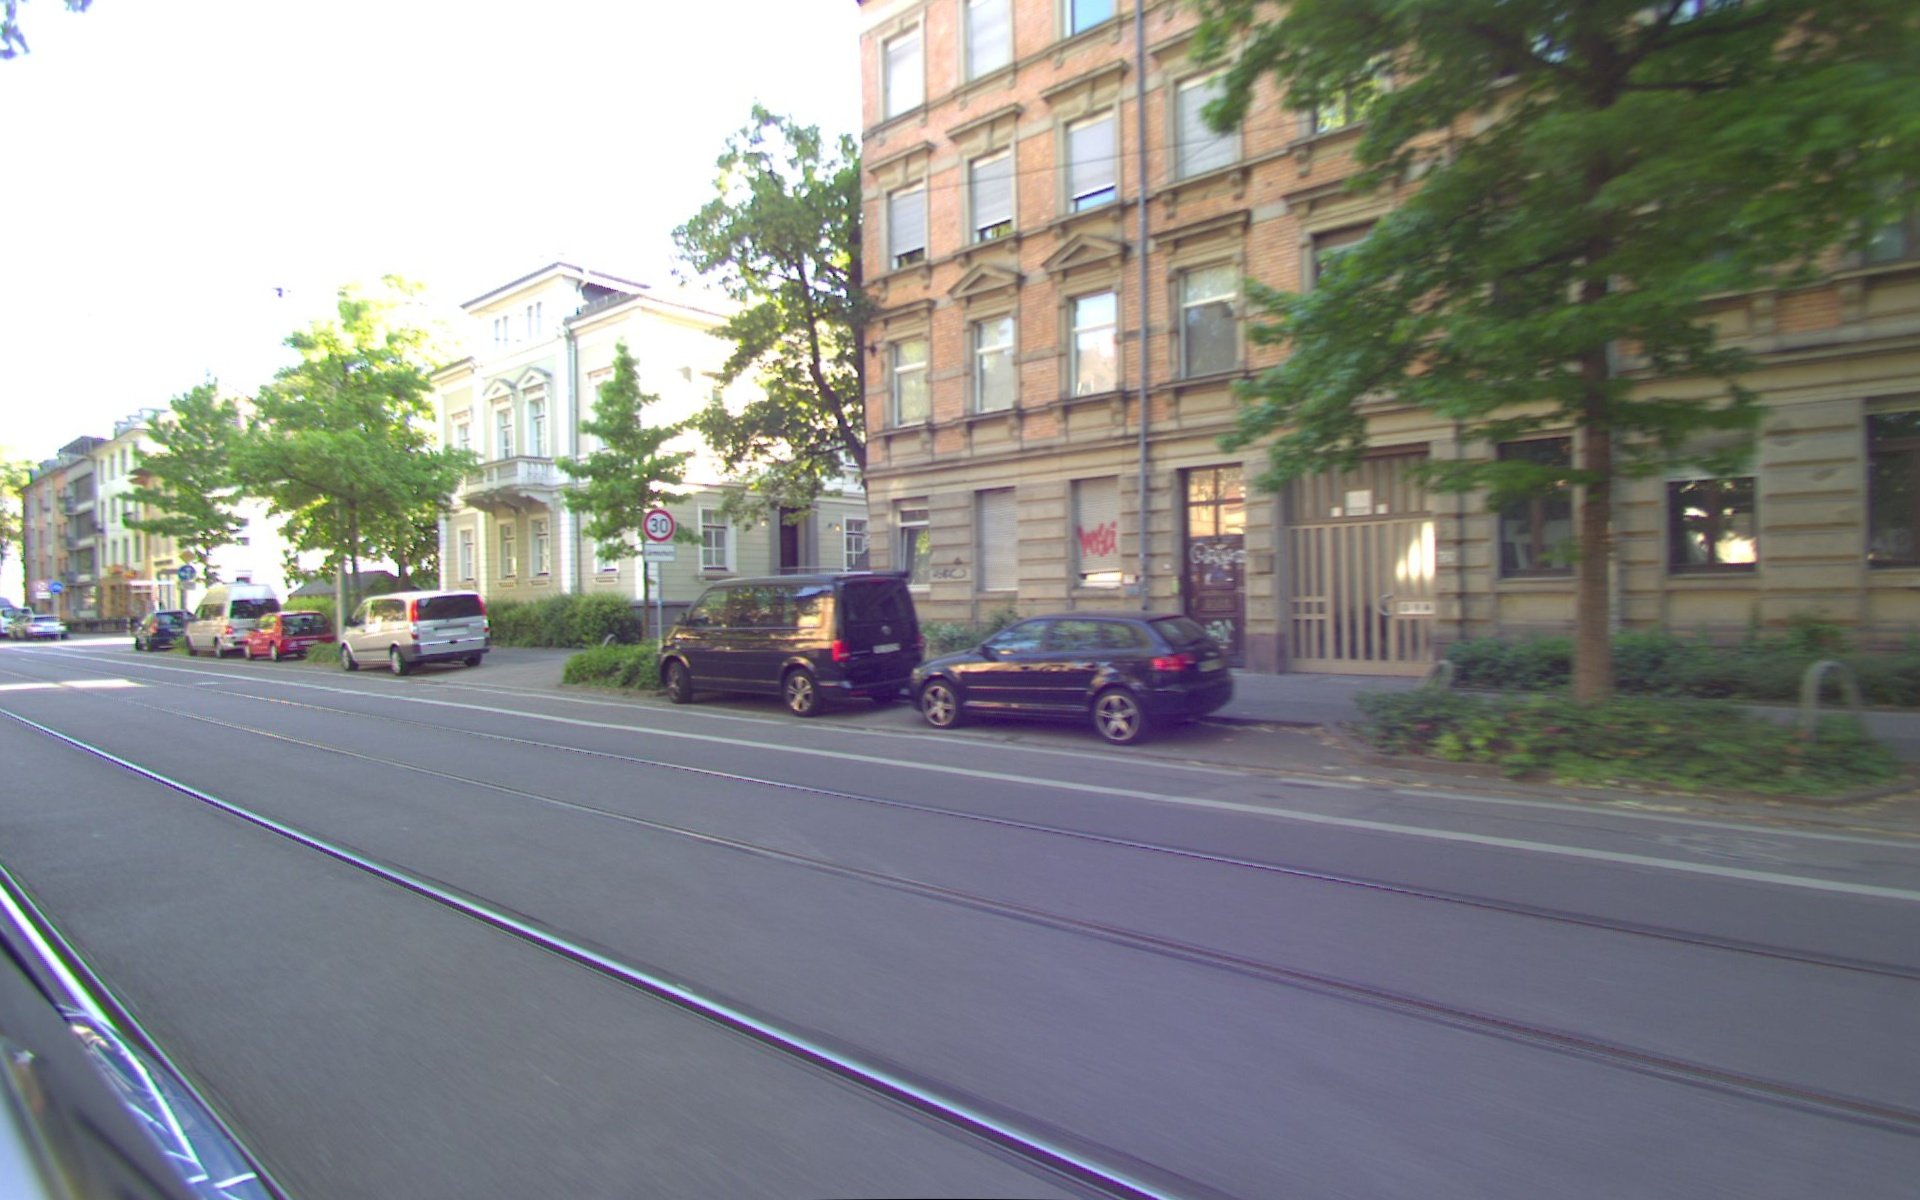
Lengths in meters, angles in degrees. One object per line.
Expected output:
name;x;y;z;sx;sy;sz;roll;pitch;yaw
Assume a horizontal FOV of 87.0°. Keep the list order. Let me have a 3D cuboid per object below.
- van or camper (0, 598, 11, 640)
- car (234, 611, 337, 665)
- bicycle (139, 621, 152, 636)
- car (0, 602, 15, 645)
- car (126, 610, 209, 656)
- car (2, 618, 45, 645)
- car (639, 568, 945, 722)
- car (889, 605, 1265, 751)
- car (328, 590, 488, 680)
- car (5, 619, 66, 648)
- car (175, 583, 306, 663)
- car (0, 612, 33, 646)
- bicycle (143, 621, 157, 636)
van or camper;-70.722;1.466;73.098;5.988;2.999;2.393;-1;3;41
car;-21.028;1.160;31.502;3.704;1.551;1.668;-1;0;40
bicycle;-52.148;1.821;64.803;1.646;0.935;0.358;-1;0;41
car;-65.737;1.642;68.536;4.543;2.766;1.904;-1;4;41
car;-31.784;1.289;40.555;4.261;1.703;1.971;-1;0;43
car;-56.543;1.886;61.074;2.881;1.503;1.555;-1;1;41
car;-2.724;0.624;15.667;4.829;2.029;1.974;-1;0;39
car;1.311;0.836;12.376;4.265;1.469;1.835;-1;0;39
car;-13.621;0.812;24.825;4.985;2.004;1.824;-1;0;41
car;-53.006;1.894;58.003;4.934;1.503;1.754;-1;1;38
car;-24.737;0.758;34.715;5.337;2.527;2.281;-1;0;39
car;-61.039;1.838;64.686;4.936;2.061;1.904;-1;1;39
bicycle;-50.972;1.802;63.671;1.646;0.935;0.358;-1;0;41
